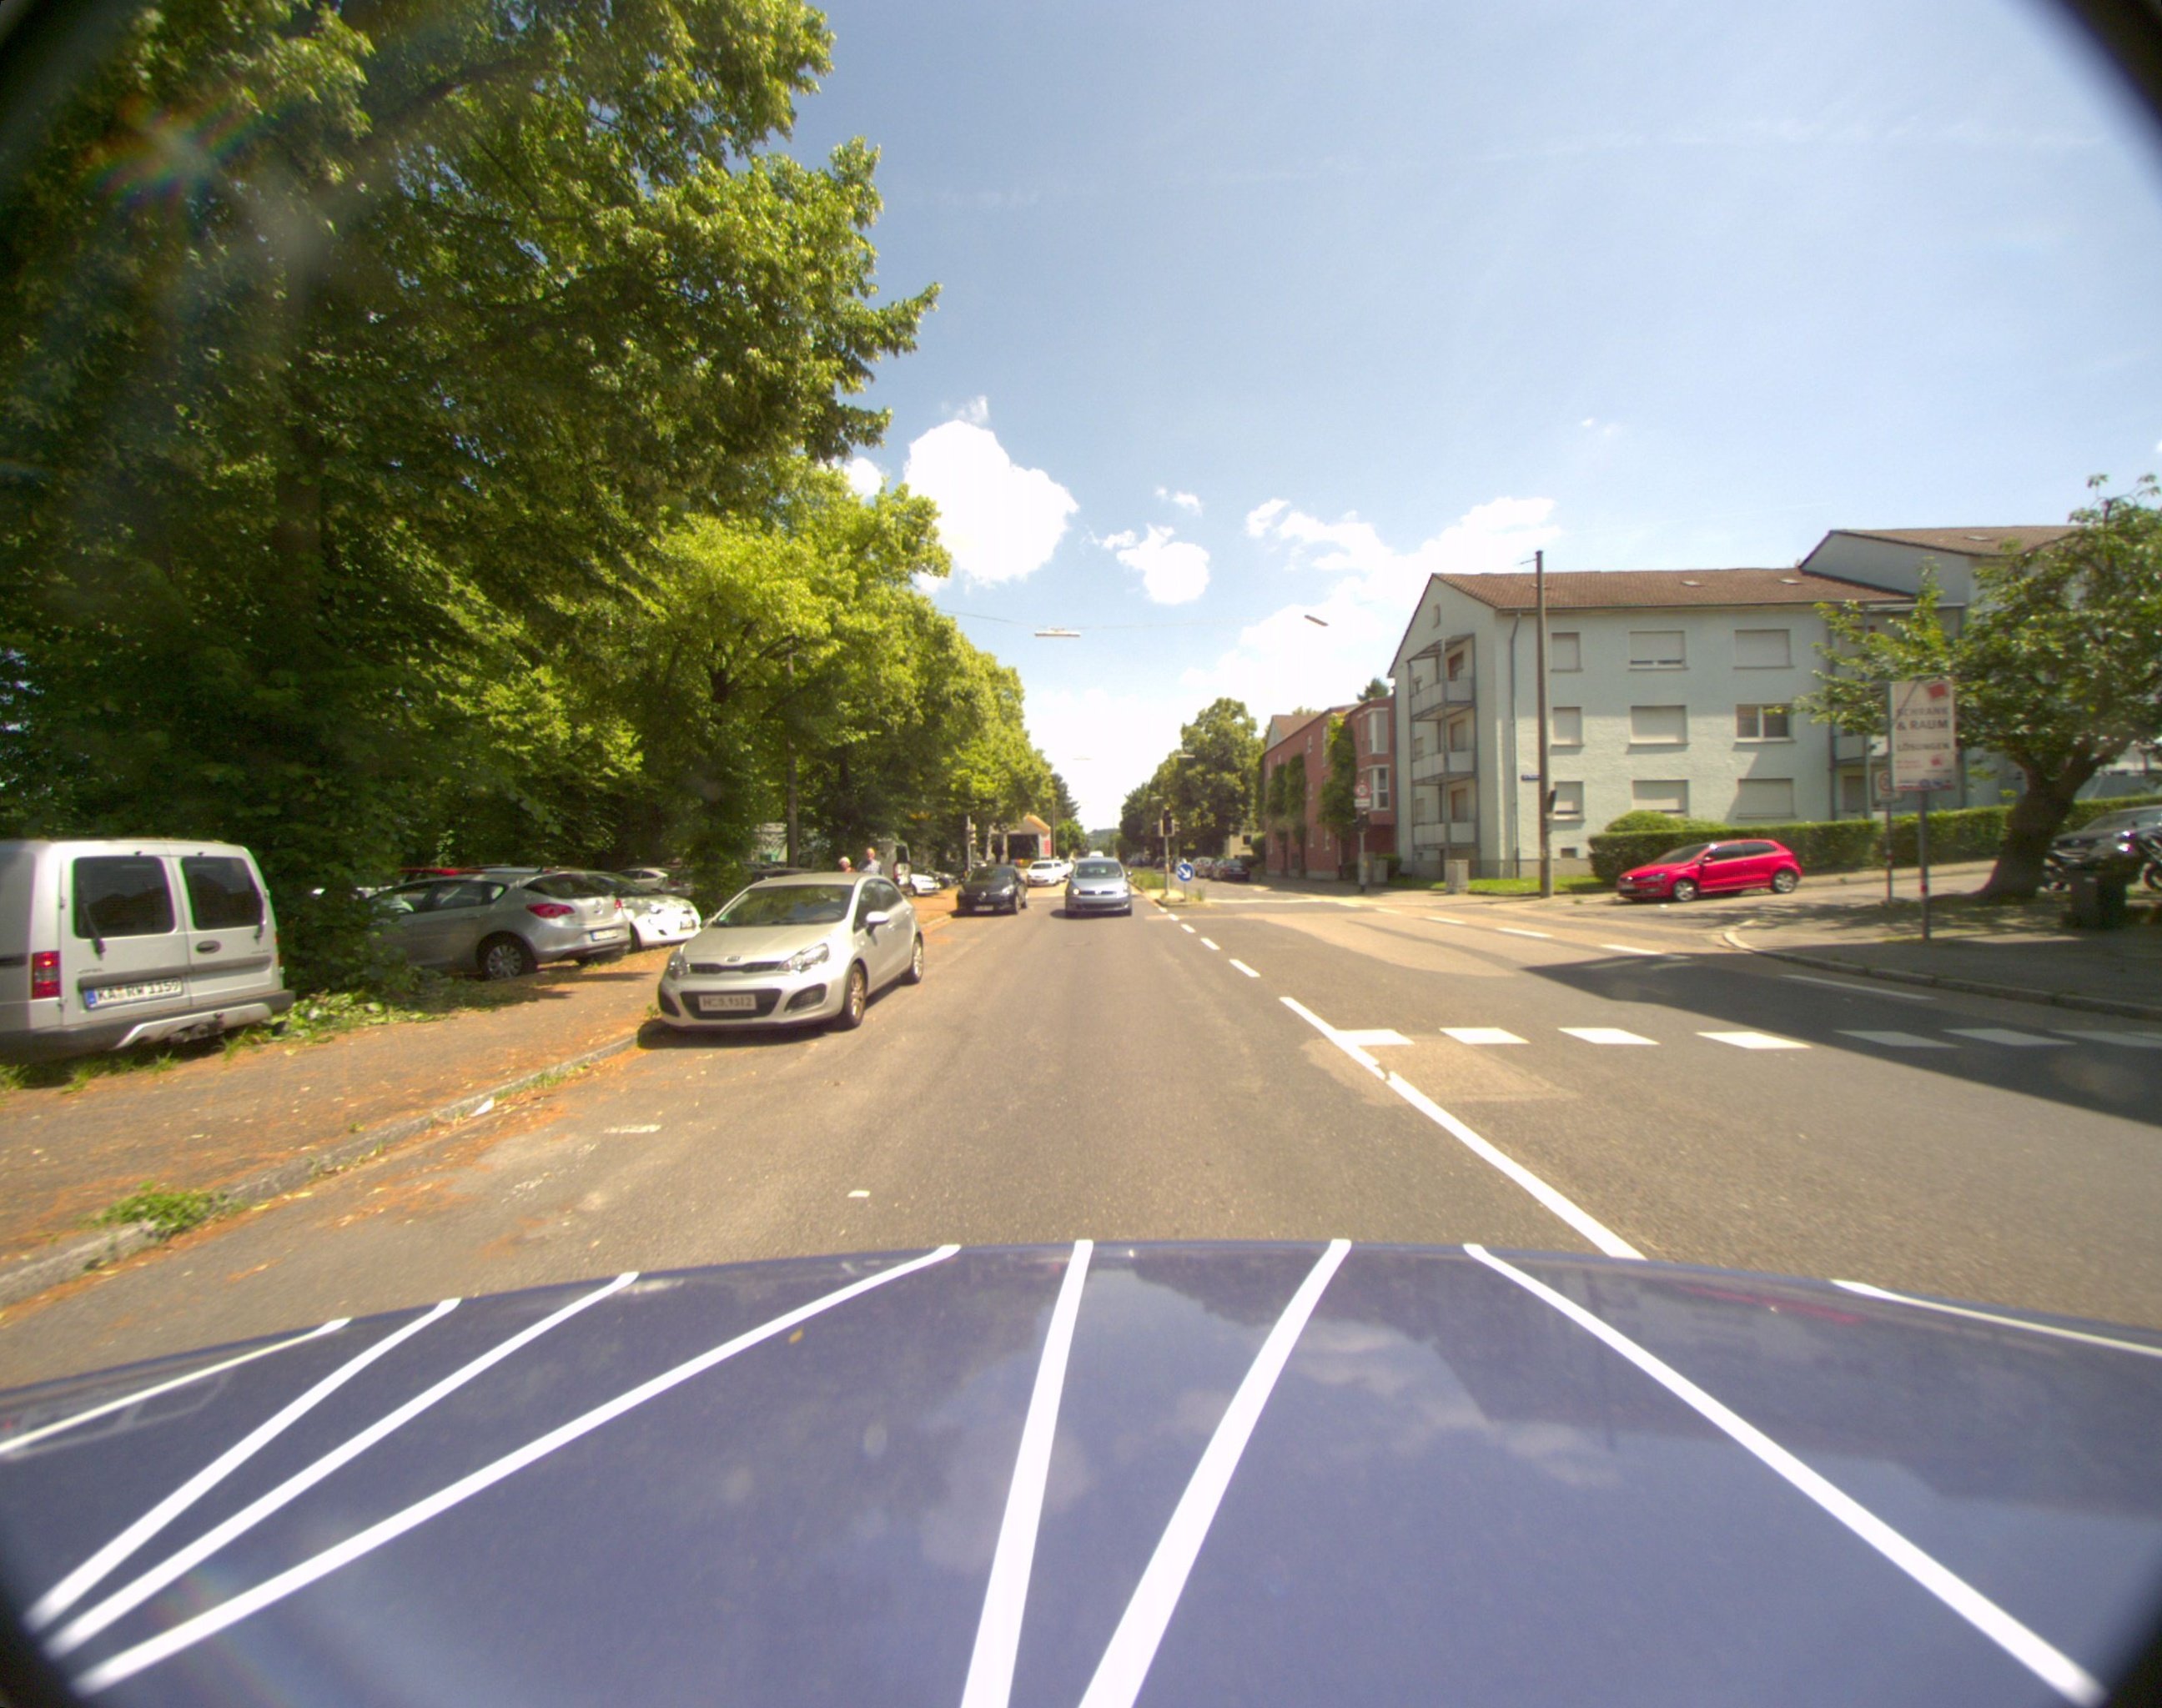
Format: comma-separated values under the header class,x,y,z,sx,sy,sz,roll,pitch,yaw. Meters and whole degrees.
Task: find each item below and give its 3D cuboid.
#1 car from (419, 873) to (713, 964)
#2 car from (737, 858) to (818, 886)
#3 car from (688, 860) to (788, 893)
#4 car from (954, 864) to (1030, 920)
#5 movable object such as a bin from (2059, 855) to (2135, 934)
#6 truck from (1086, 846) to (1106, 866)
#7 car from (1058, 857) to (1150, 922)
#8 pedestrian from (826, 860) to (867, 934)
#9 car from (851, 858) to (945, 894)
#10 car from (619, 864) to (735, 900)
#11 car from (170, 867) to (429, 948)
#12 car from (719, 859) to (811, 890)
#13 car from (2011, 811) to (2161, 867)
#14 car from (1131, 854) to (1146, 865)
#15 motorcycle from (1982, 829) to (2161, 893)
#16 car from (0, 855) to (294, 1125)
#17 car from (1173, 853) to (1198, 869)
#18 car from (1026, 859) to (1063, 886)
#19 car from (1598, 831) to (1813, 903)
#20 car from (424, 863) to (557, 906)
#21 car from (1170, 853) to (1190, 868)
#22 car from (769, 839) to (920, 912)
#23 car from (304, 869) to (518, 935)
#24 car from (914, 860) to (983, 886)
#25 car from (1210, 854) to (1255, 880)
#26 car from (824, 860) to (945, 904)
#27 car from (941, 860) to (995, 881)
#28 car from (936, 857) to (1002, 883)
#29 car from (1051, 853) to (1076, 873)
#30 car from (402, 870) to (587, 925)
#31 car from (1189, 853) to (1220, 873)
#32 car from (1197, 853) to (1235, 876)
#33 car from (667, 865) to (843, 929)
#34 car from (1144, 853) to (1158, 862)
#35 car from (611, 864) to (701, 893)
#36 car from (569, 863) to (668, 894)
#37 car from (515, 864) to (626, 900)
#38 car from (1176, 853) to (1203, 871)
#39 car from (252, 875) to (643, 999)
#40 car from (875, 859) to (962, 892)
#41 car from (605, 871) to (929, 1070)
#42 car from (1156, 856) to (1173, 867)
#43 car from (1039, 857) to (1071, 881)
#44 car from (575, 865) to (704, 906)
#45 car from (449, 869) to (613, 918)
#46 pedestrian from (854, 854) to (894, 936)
class,x,y,z,sx,sy,sz,roll,pitch,yaw
car,-8.833,1.082,13.259,3.996,1.420,1.669,-1,0,2
car,-17.538,1.027,44.028,3.956,1.513,1.737,0,0,-4
car,-17.332,1.121,38.535,4.263,1.578,1.819,0,0,0
car,-2.594,1.074,22.897,1.667,1.420,4.000,-2,0,2
movable object such as a bin,14.755,0.566,11.050,0.674,1.090,0.631,-1,1,-39
truck,1.805,0.221,90.836,1.866,2.211,4.506,-2,0,6
car,0.739,0.889,20.578,1.745,1.513,4.226,-1,0,12
pedestrian,-5.203,0.949,16.916,0.618,1.584,0.737,-2,1,1
car,-8.771,1.052,36.633,4.078,1.485,1.636,-3,1,0
car,-17.263,1.187,32.569,3.996,1.464,1.805,0,1,3
car,-17.353,1.163,17.010,3.996,1.652,1.805,0,1,3
car,-17.204,1.099,41.478,4.265,1.578,1.818,0,0,-6
car,26.789,-0.437,19.432,3.788,1.144,1.734,-5,-3,0
car,8.120,0.741,108.338,1.752,1.499,4.000,-2,0,0
motorcycle,19.189,0.144,14.455,0.930,1.028,2.386,-4,-3,-18
car,-8.432,0.870,5.397,3.774,1.657,1.663,-1,0,-3
car,10.192,0.662,74.320,1.752,1.499,4.000,-2,0,0
car,-2.101,1.064,44.588,1.721,1.434,4.112,-3,0,2
car,15.941,0.342,19.545,3.997,1.443,1.733,-5,-1,0
car,-22.723,1.149,29.324,3.806,1.578,1.738,0,0,3
car,10.336,0.687,79.486,1.572,1.499,4.000,-2,0,0
car,-8.381,0.744,27.205,4.614,2.263,2.106,-3,0,1
car,-17.313,1.206,19.764,3.996,1.577,1.805,0,1,3
car,-7.741,1.086,44.630,3.848,1.350,1.629,-2,0,-7
car,9.609,0.784,48.394,1.891,1.531,4.568,-1,0,-1
car,-7.906,1.105,30.869,4.336,1.485,1.809,-3,0,0
car,-8.400,1.217,56.719,3.762,1.518,1.853,-1,0,-2
car,-7.146,1.004,48.388,3.763,1.526,1.631,-2,0,12
car,-1.334,0.660,59.060,1.775,1.434,3.338,-2,0,2
car,-16.939,1.246,22.075,3.996,1.464,1.805,0,1,3
car,9.852,0.725,60.876,1.752,1.499,4.000,-2,0,0
car,9.678,0.719,54.753,1.891,1.531,4.568,-1,0,-1
car,-8.848,1.147,20.810,3.996,1.464,1.717,-3,0,3
car,10.981,0.550,119.020,1.757,1.325,3.608,-2,0,0
car,-22.380,1.256,40.073,3.806,1.456,1.738,0,0,3
car,-22.685,1.190,37.369,3.806,1.456,1.738,0,0,3
car,-22.830,1.226,34.079,3.806,1.483,1.738,-1,0,3
car,9.679,0.691,67.808,1.752,1.433,4.000,-2,0,0
car,-8.555,1.087,10.476,3.995,1.390,1.809,-2,0,6
car,-8.393,1.089,39.494,4.078,1.485,1.636,-2,1,0
car,-2.983,1.008,8.222,1.771,1.476,3.891,-2,0,1
car,10.706,0.969,97.261,1.757,1.325,3.608,-2,0,0
car,-1.746,1.021,52.234,1.867,1.516,4.208,-2,0,2
car,-17.208,1.211,29.743,3.996,1.464,1.805,0,1,3
car,-17.605,1.236,24.434,3.996,1.464,1.805,0,1,3
pedestrian,-4.602,0.890,16.908,0.618,1.754,0.737,-2,1,1
